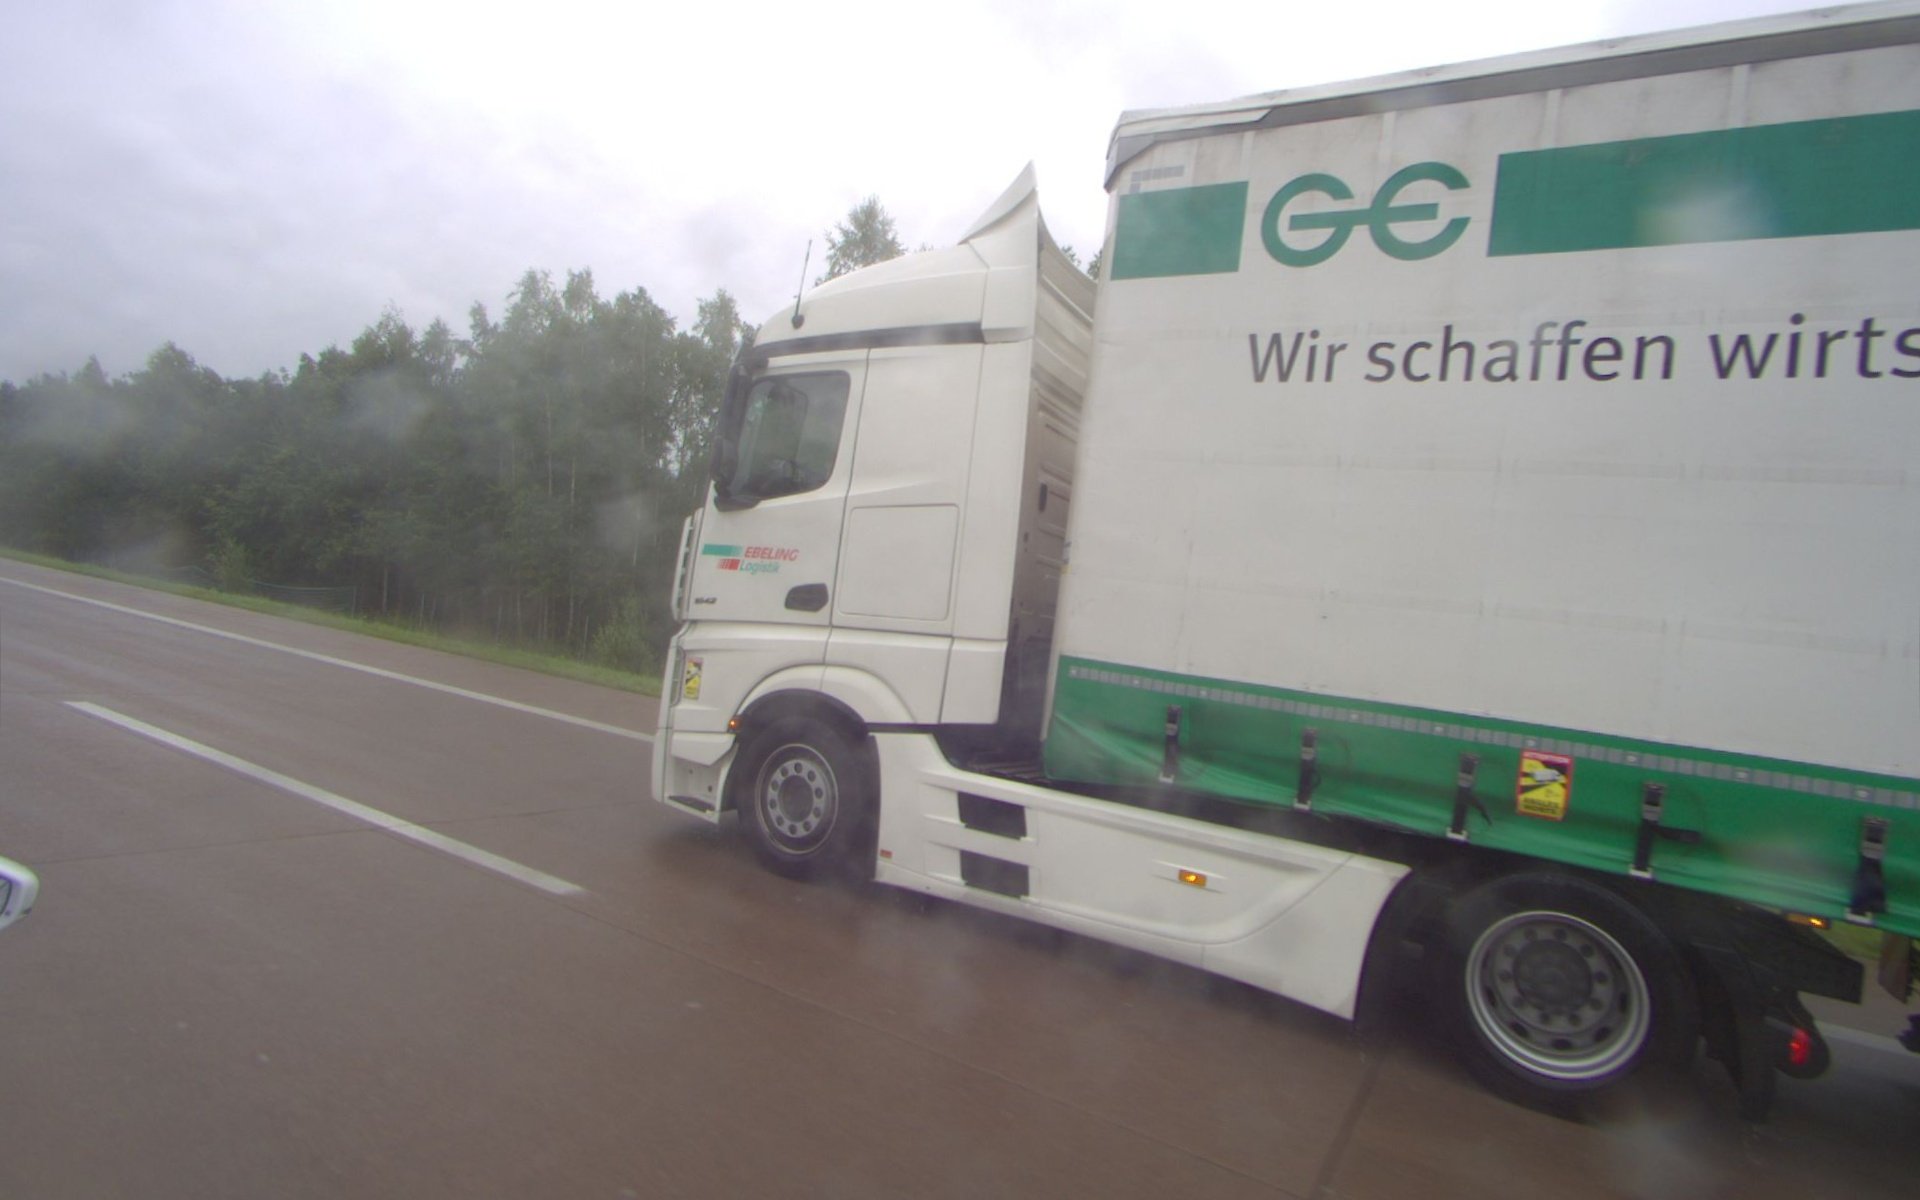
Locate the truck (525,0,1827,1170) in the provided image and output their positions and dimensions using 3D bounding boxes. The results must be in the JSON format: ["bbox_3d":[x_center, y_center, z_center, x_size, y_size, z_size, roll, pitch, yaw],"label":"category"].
[{"bbox_3d":[0.729,-0.362,6.255,6.242,4.159,2.883,7,1,31],"label":"truck"}]

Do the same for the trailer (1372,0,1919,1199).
[{"bbox_3d":[8.082,0.482,1.830,12.910,4.286,2.855,7,1,31],"label":"trailer"}]
